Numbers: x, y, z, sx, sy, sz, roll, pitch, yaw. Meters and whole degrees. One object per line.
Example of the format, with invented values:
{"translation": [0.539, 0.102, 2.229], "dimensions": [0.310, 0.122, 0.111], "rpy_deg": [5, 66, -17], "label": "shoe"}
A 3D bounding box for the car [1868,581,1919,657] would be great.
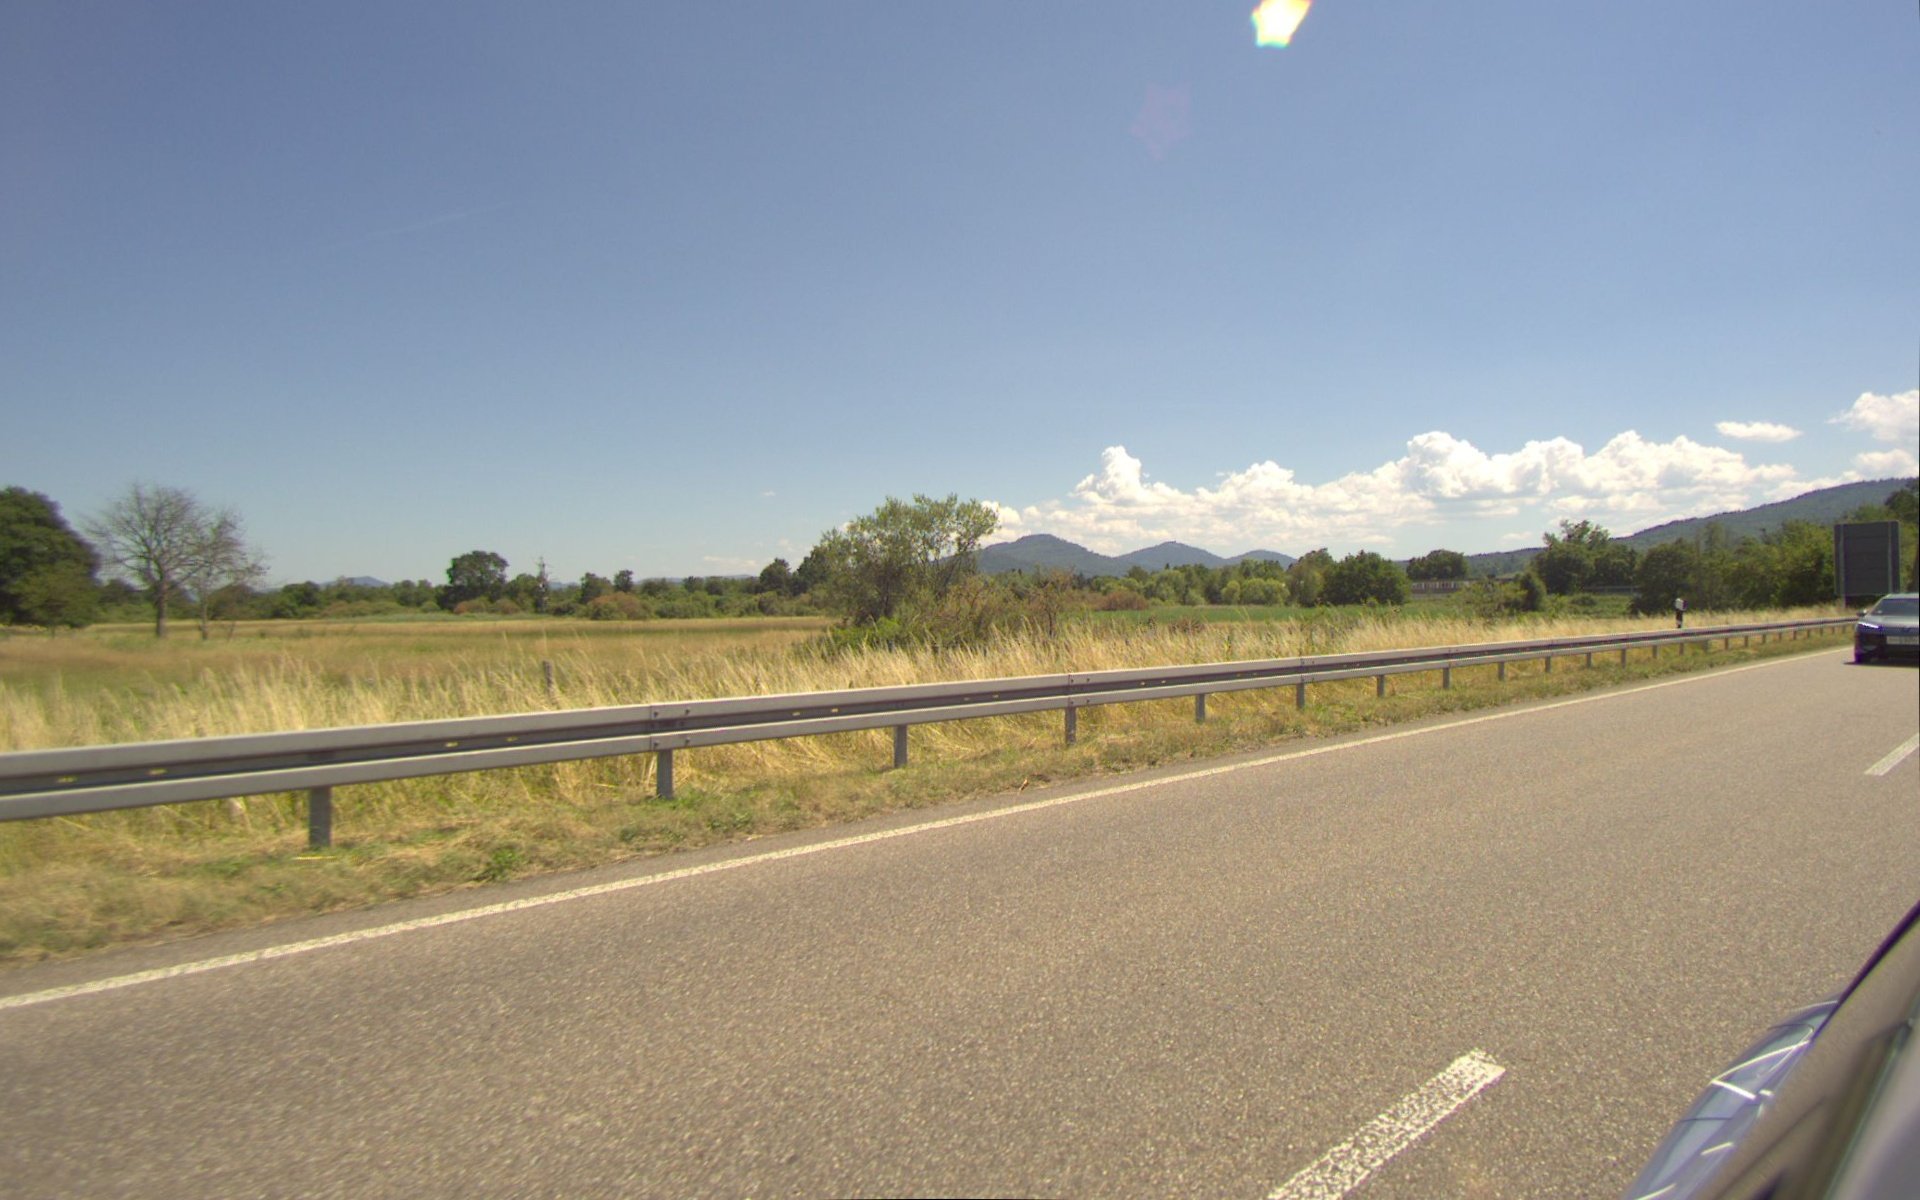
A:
{"translation": [21.432, 0.390, 22.160], "dimensions": [3.948, 1.572, 1.789], "rpy_deg": [0, 2, -41], "label": "car"}
